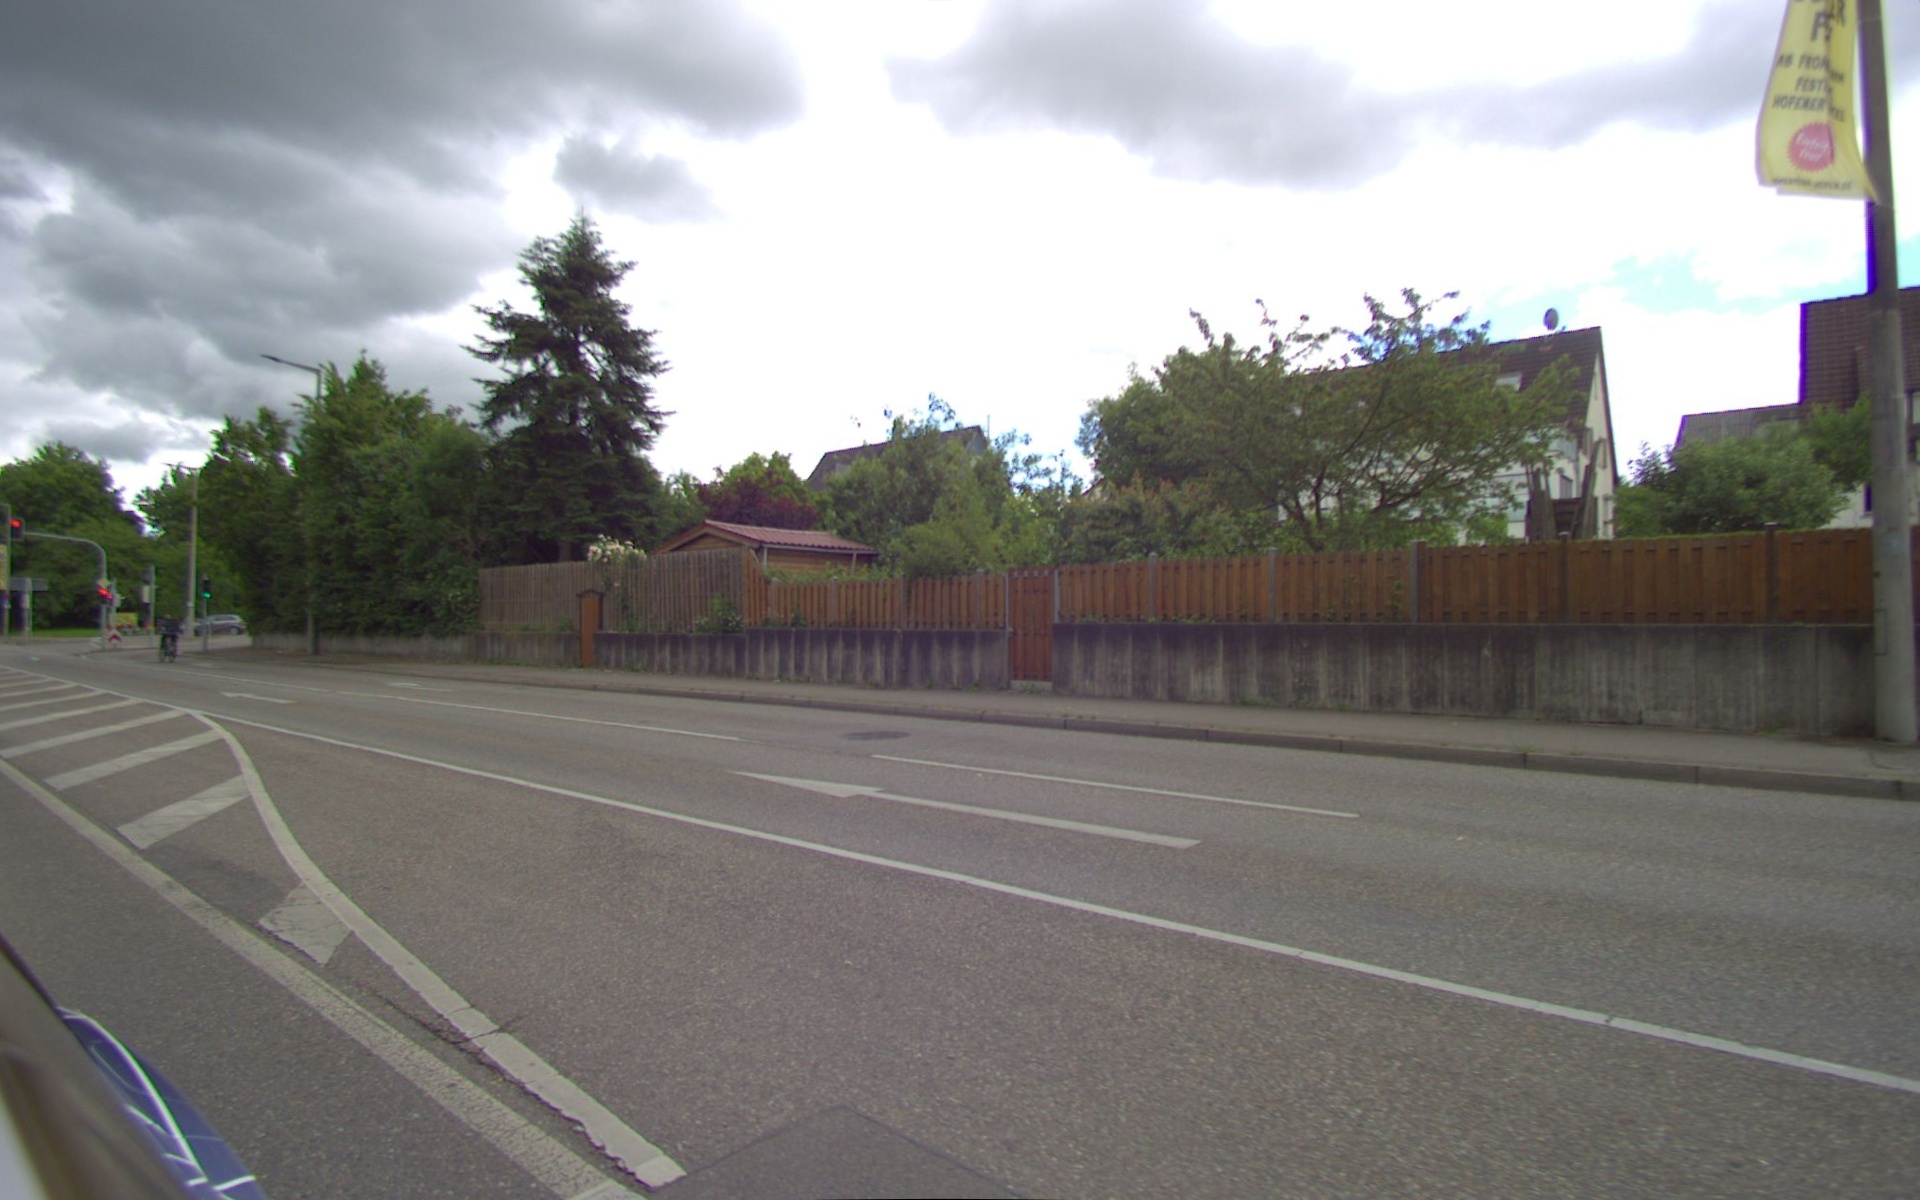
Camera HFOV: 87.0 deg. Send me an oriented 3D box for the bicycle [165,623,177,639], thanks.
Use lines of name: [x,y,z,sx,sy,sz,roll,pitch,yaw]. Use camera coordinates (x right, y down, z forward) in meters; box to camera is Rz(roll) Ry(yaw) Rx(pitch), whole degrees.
bicycle: [-63.428,2.499,81.320,0.536,1.262,1.941,-1,0,-32]

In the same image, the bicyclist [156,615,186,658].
bicyclist: [-29.414,1.345,37.723,0.977,1.546,0.636,-1,0,37]

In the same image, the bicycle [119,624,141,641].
bicycle: [-66.068,2.545,80.563,0.537,1.262,1.940,-1,0,-12]

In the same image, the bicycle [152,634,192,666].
bicycle: [-29.371,1.842,37.700,2.144,1.154,0.636,-1,0,37]

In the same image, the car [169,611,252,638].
car: [-56.478,1.850,76.337,4.664,1.867,2.007,-1,0,-23]

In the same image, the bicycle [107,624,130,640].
bicycle: [-66.753,2.528,80.274,0.537,1.262,1.940,-1,0,-12]

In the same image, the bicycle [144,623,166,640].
bicycle: [-64.307,2.516,80.893,0.537,1.262,1.940,-1,0,-12]

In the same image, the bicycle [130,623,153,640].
bicycle: [-65.169,2.531,80.590,0.537,1.262,1.940,-1,0,-12]

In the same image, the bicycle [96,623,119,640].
bicycle: [-67.370,2.507,79.994,0.537,1.262,1.940,-1,0,-12]
